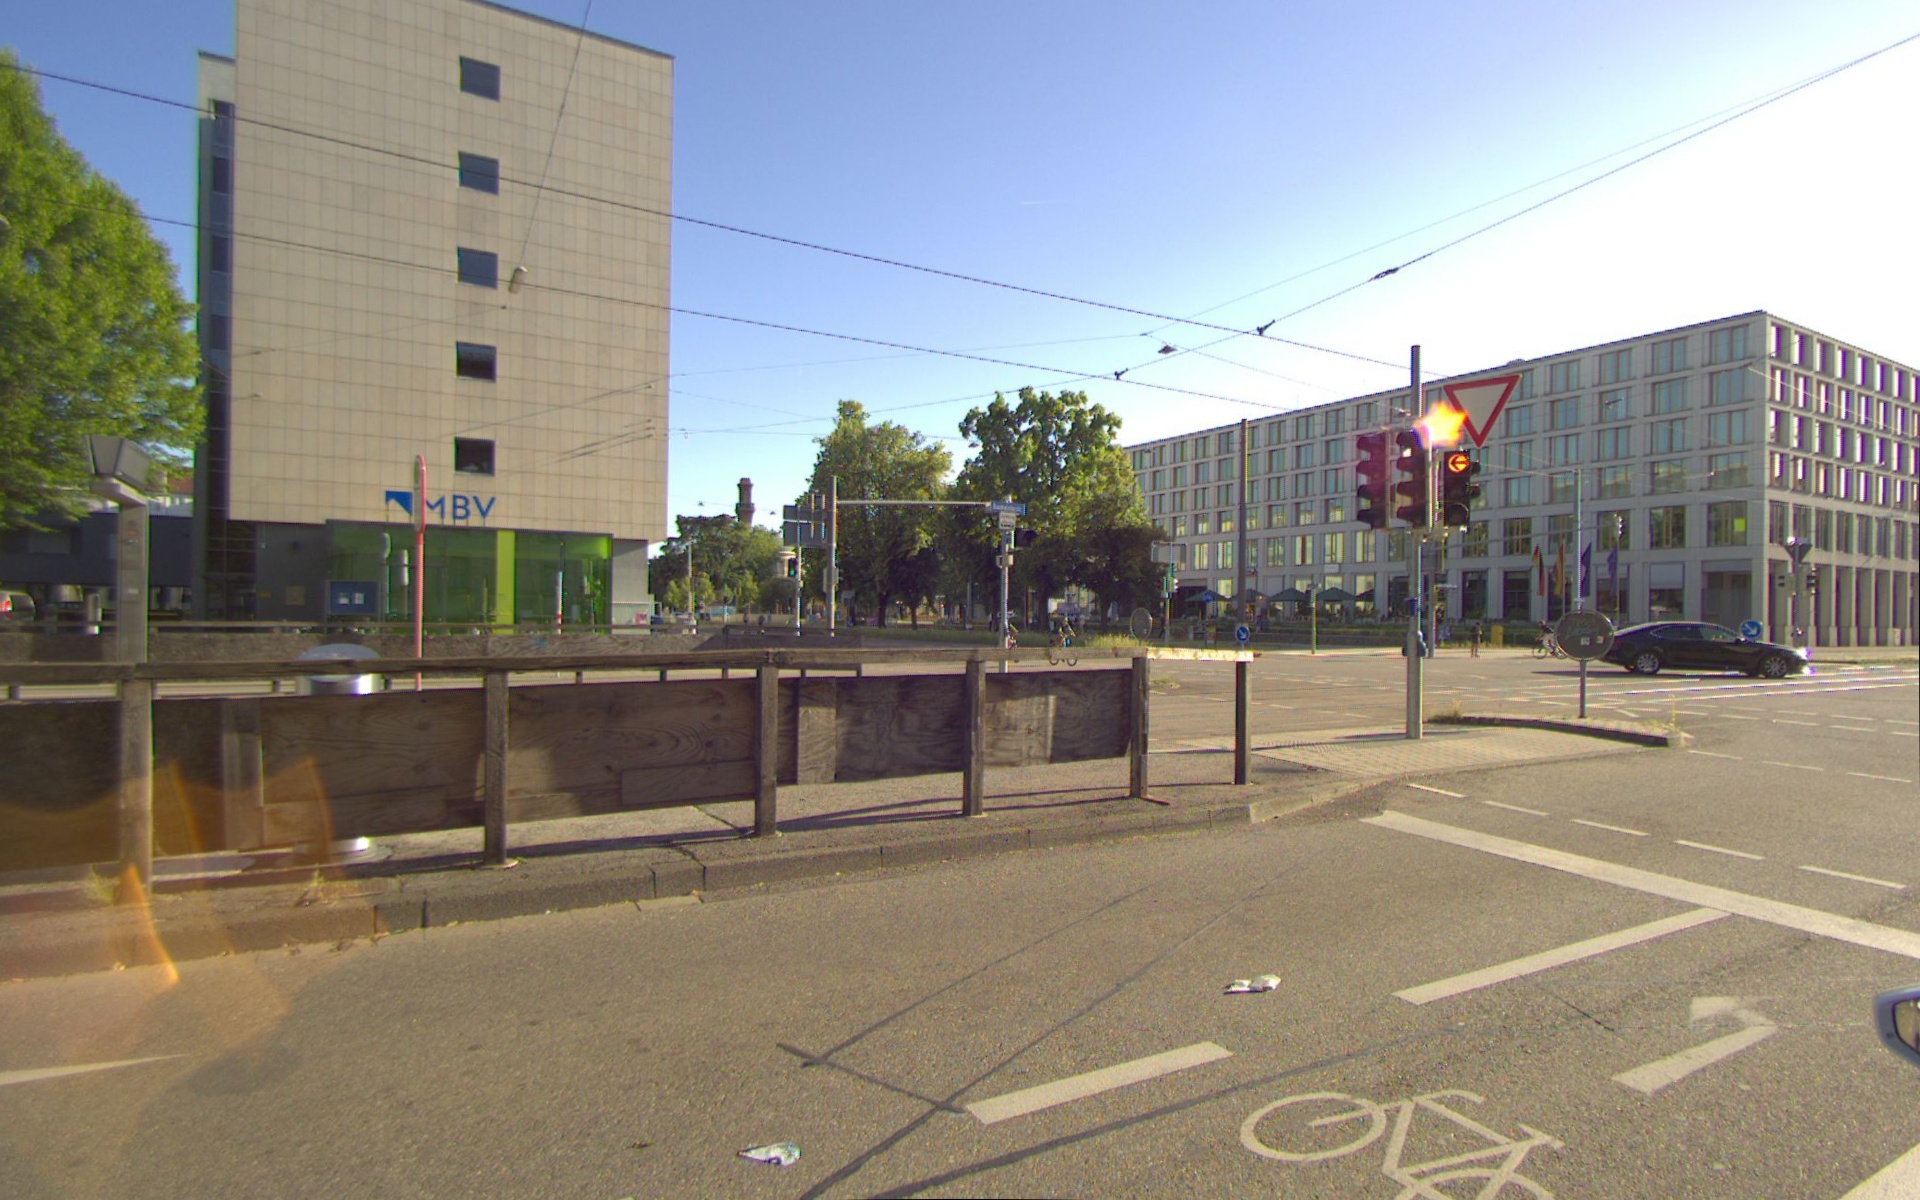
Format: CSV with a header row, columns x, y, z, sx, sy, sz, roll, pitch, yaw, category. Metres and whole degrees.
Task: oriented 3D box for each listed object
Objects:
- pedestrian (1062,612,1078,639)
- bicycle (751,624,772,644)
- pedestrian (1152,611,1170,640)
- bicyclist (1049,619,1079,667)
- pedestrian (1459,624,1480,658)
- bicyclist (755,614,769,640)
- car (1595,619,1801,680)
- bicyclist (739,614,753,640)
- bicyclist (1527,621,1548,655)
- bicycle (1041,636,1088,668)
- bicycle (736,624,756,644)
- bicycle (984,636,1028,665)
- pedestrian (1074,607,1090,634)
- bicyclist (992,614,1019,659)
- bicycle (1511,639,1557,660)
x,y,z,sx,sy,sz,roll,pitch,yaw,category
8.209,1.899,74.953,0.864,1.925,0.713,2,0,-28,pedestrian
-11.932,2.049,60.352,0.616,1.148,1.869,1,-1,-31,bicycle
13.406,1.699,67.009,0.862,1.925,0.714,2,0,-21,pedestrian
3.308,1.360,31.840,0.609,1.470,0.795,1,-1,-26,bicyclist
24.886,1.992,49.073,0.587,1.610,0.768,1,-1,-42,pedestrian
-11.918,1.640,60.327,0.602,1.544,0.709,1,-1,-32,bicyclist
20.349,1.331,27.930,4.349,1.474,1.664,1,0,26,car
-12.761,1.620,59.845,0.647,1.544,0.615,1,-1,-32,bicyclist
27.321,1.791,47.534,0.765,1.610,0.759,0,-1,36,bicyclist
3.301,1.636,31.861,0.637,0.947,1.737,1,-1,-26,bicycle
-12.755,2.015,59.825,0.574,1.148,1.776,1,-1,-31,bicycle
1.611,1.762,35.452,0.554,0.947,1.846,1,-1,-34,bicycle
9.190,1.538,75.503,0.814,2.040,0.839,2,0,-27,pedestrian
1.607,1.282,35.460,0.600,1.544,0.758,1,-1,-34,bicyclist
27.204,2.329,47.613,1.833,0.947,0.760,0,-1,37,bicycle
